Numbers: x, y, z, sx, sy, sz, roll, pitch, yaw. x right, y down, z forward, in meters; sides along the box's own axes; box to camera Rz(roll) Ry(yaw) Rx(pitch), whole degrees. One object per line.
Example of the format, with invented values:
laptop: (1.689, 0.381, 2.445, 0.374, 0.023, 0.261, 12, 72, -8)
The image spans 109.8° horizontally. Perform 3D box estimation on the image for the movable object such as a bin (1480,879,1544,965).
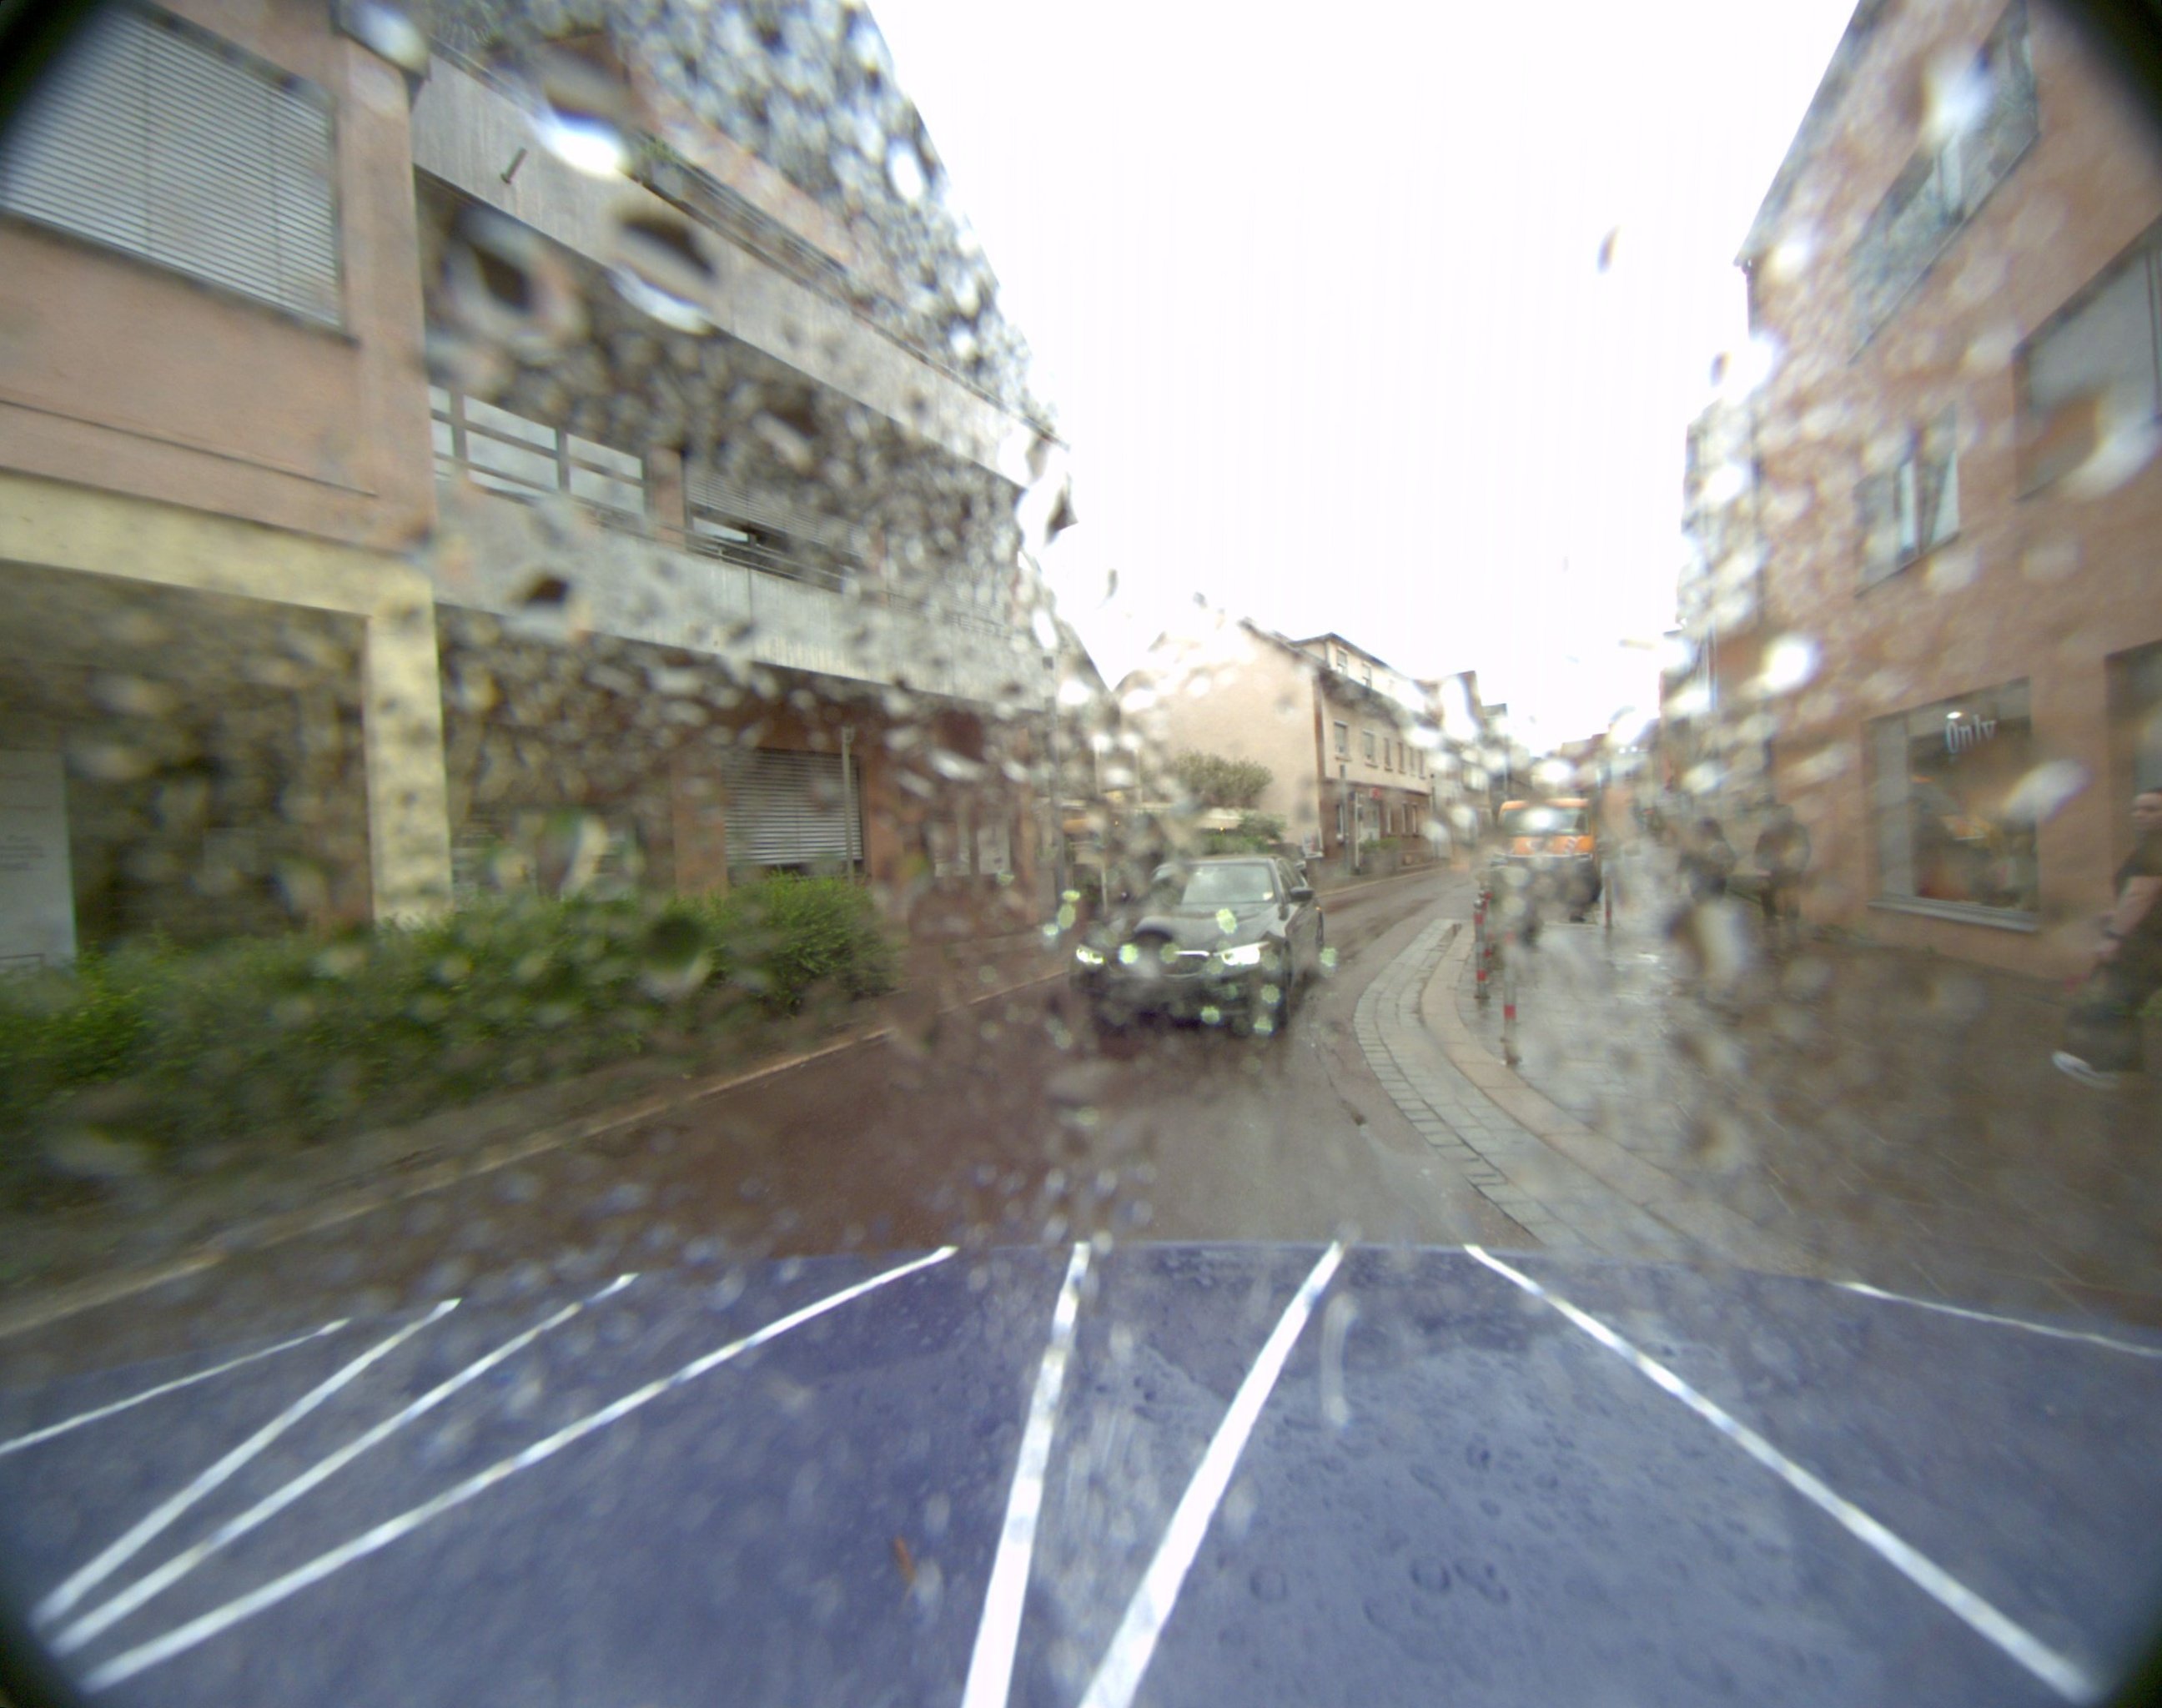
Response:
movable object such as a bin: (5.541, 0.860, 9.794, 0.657, 1.031, 0.611, -2, 1, 27)

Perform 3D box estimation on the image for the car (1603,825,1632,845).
car: (40.043, -1.400, 56.686, 1.628, 1.359, 3.495, -3, 0, 37)

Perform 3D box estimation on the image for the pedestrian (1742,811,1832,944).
pedestrian: (9.479, 0.308, 10.236, 0.623, 1.702, 0.810, -4, 1, 28)

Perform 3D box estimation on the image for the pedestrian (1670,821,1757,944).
pedestrian: (8.795, 0.389, 10.596, 0.715, 1.630, 0.747, -4, 1, 28)

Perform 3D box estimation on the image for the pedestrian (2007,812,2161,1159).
pedestrian: (5.290, 0.600, 3.749, 0.660, 1.600, 0.685, -2, 1, 26)

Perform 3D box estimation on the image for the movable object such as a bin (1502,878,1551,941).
movable object such as a bin: (6.889, 0.851, 11.740, 0.582, 0.922, 0.482, -2, 1, 36)

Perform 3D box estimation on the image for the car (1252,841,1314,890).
car: (6.491, 0.314, 24.618, 1.736, 1.349, 3.940, -2, 1, 13)

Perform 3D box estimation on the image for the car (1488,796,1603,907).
car: (11.268, -0.134, 18.227, 1.995, 2.227, 5.871, -2, 1, 34)

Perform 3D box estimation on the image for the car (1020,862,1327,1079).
car: (1.292, 0.898, 7.870, 1.944, 1.394, 4.426, -2, 1, 23)

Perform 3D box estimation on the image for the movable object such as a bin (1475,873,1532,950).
movable object such as a bin: (6.038, 0.814, 10.889, 0.657, 1.031, 0.611, -2, 1, 27)

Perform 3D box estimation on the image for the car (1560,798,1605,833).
car: (46.199, -3.412, 69.836, 2.705, 2.857, 8.861, -3, 0, 37)
